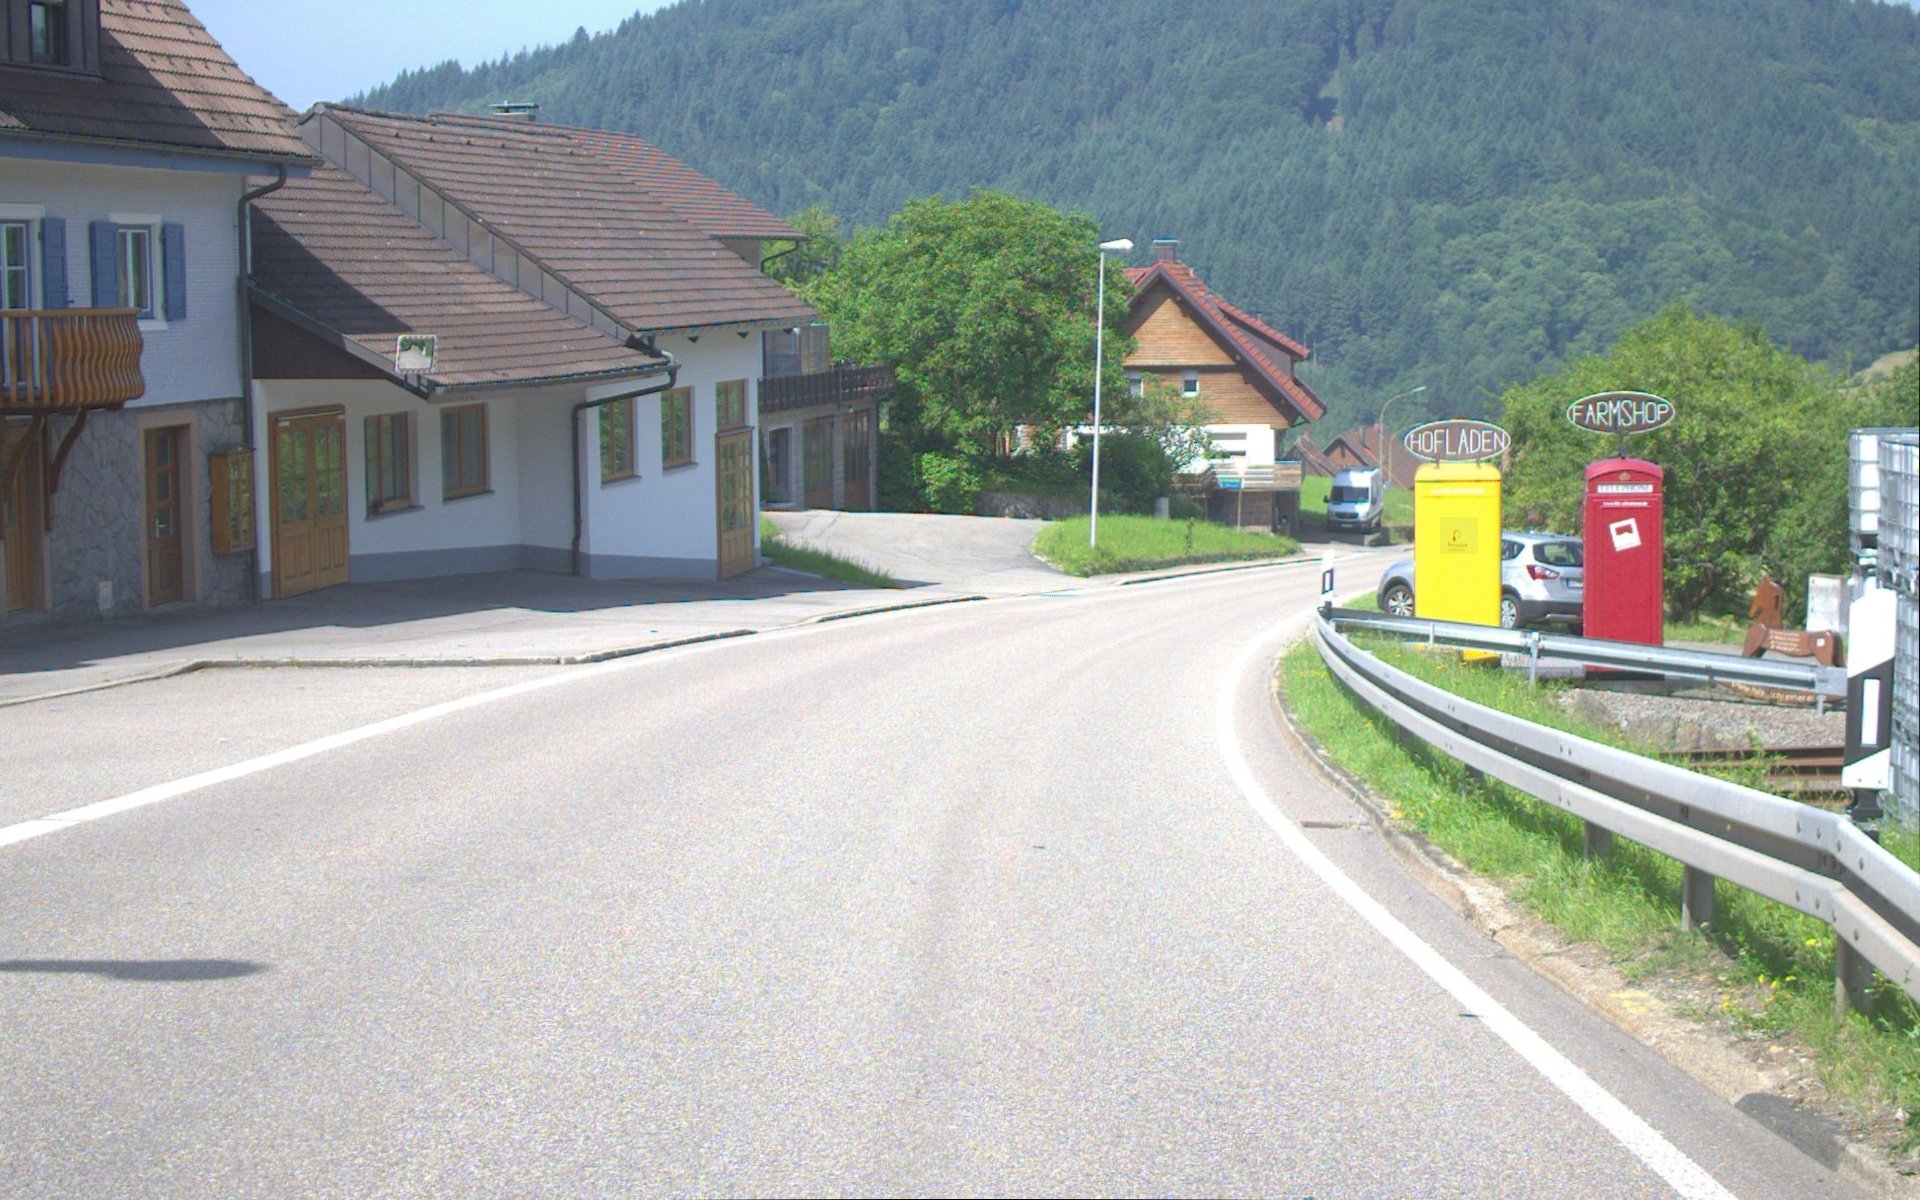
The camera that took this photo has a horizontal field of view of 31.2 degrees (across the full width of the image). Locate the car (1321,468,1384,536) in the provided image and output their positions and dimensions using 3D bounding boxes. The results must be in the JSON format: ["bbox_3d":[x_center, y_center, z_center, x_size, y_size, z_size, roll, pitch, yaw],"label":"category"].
[{"bbox_3d":[17.751,-4.460,155.110,2.068,2.679,7.171,1,5,13],"label":"car"}]

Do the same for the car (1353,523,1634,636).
[{"bbox_3d":[8.351,-0.343,54.191,1.899,1.565,4.463,0,3,-32],"label":"car"}]
